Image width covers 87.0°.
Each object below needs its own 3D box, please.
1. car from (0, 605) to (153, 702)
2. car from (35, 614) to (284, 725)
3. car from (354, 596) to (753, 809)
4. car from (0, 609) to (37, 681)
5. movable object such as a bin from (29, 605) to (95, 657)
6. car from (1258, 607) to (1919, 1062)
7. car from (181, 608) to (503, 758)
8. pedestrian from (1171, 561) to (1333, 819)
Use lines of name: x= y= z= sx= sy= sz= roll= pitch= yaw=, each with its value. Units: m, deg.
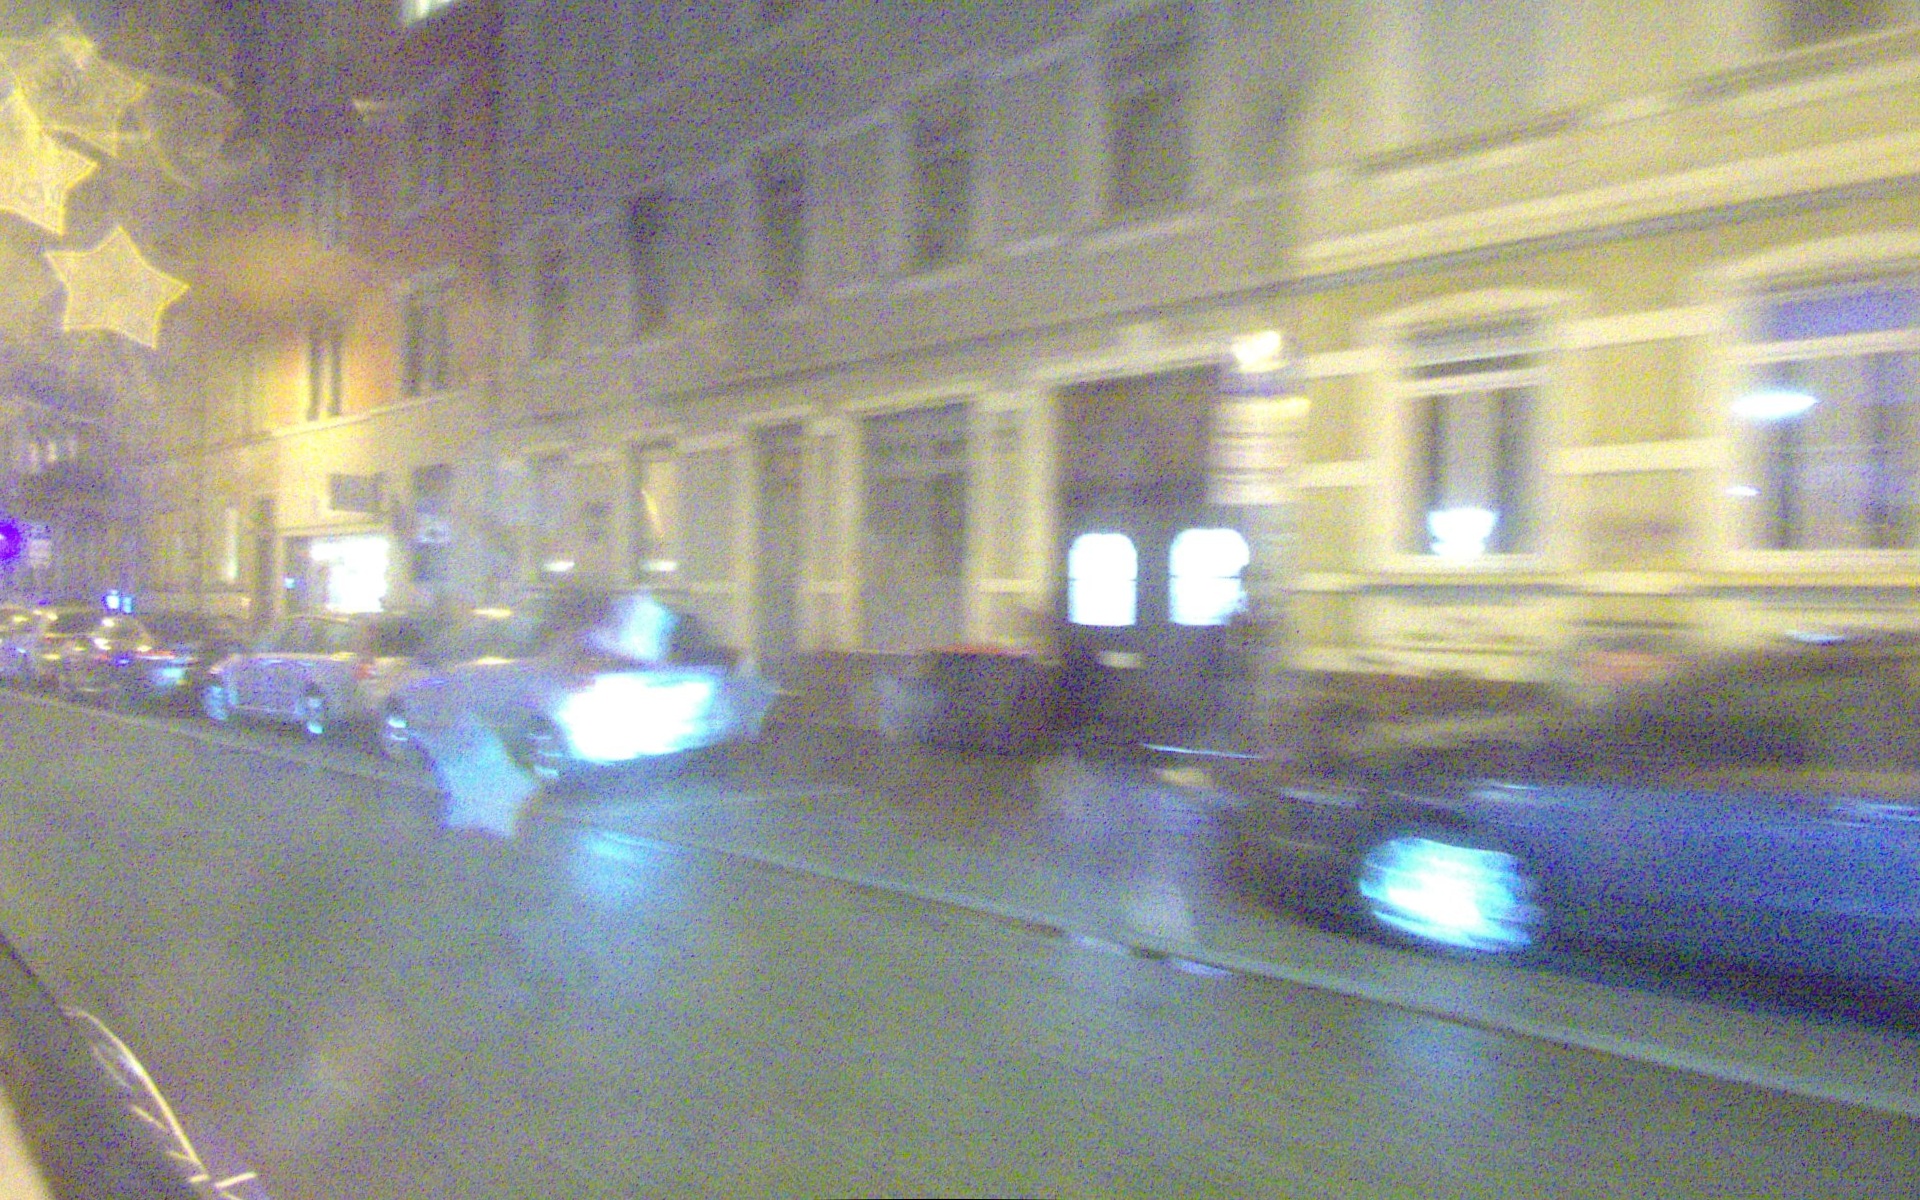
car: x=-16.521 y=0.896 z=18.475 sx=4.126 sy=1.584 sz=1.758 roll=0 pitch=-1 yaw=36
car: x=-12.074 y=0.930 z=15.175 sx=4.417 sy=1.400 sz=1.806 roll=0 pitch=-1 yaw=36
car: x=-3.875 y=0.783 z=9.451 sx=3.758 sy=1.600 sz=1.729 roll=0 pitch=-1 yaw=36
car: x=-22.125 y=0.975 z=22.518 sx=3.714 sy=1.502 sz=1.657 roll=0 pitch=0 yaw=36
movable object such as a bin: x=-25.924 y=0.892 z=29.215 sx=1.375 sy=1.465 sz=1.092 roll=0 pitch=-2 yaw=34
car: x=3.755 y=0.791 z=4.068 sx=4.585 sy=1.497 sz=1.816 roll=0 pitch=-1 yaw=36
car: x=-7.542 y=0.857 z=12.212 sx=4.298 sy=1.492 sz=1.816 roll=0 pitch=-1 yaw=36
pedestrian: x=2.230 y=0.621 z=7.723 sx=0.985 sy=1.818 sz=0.736 roll=1 pitch=1 yaw=39
